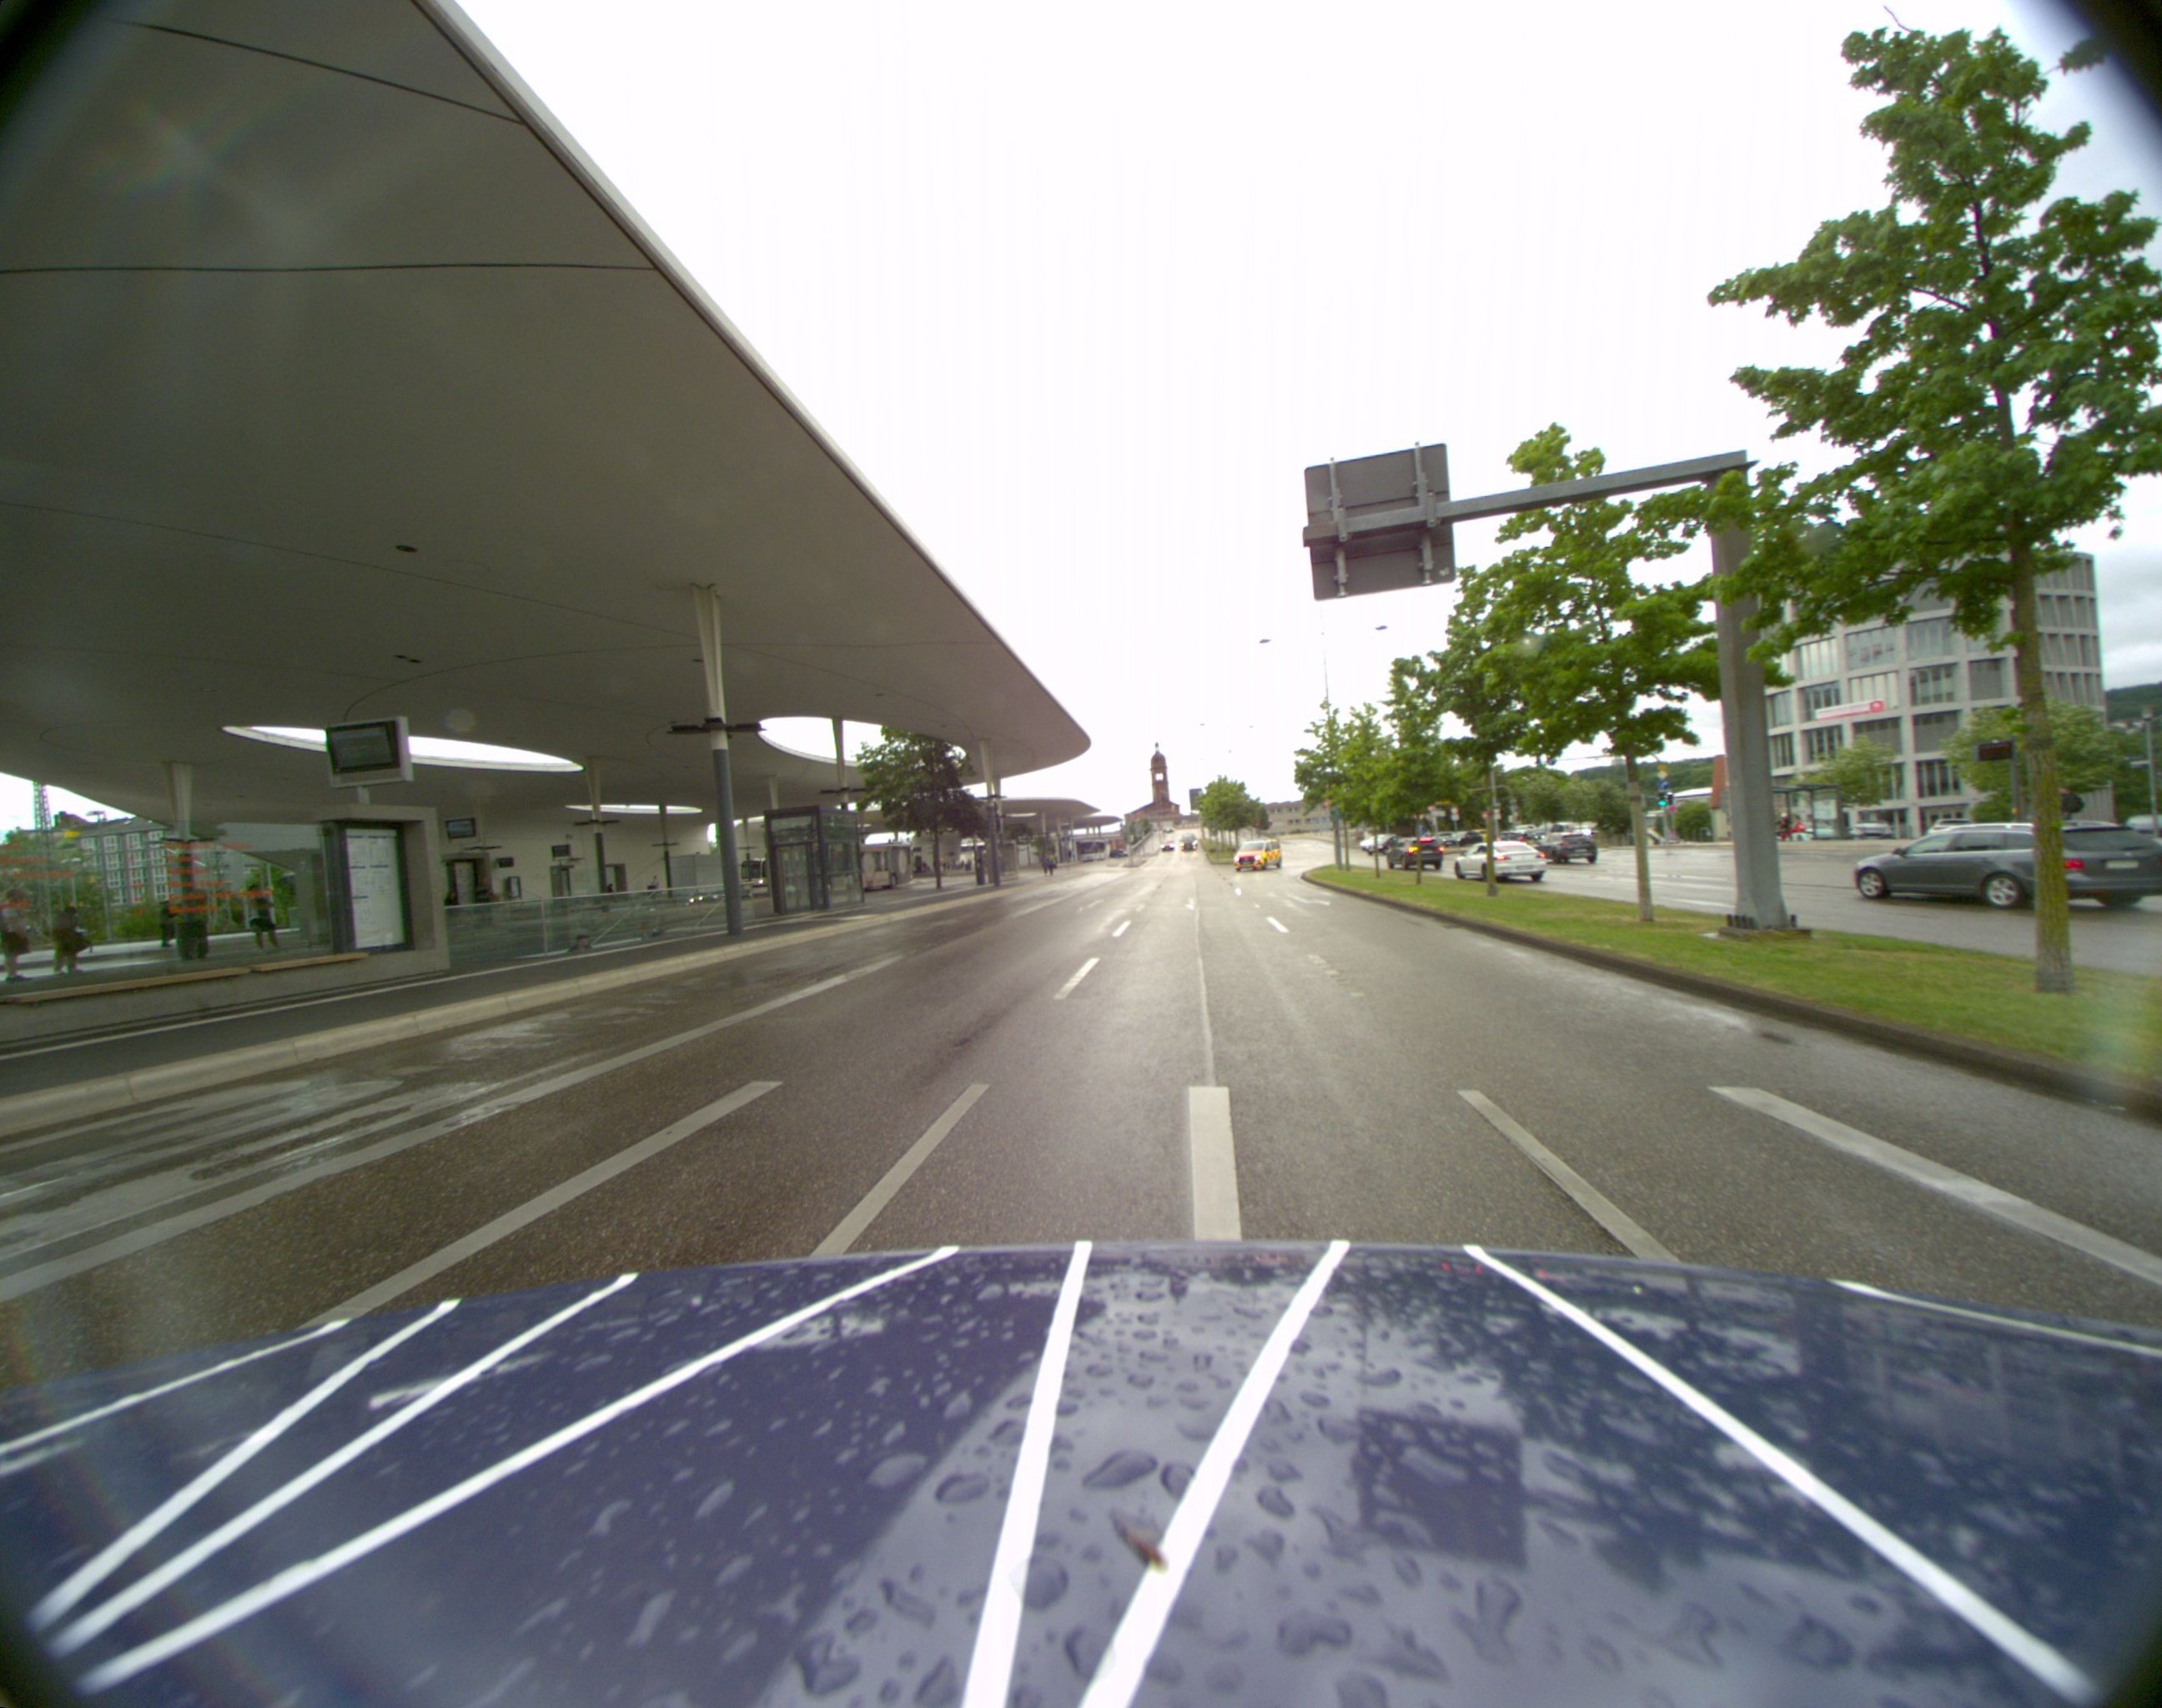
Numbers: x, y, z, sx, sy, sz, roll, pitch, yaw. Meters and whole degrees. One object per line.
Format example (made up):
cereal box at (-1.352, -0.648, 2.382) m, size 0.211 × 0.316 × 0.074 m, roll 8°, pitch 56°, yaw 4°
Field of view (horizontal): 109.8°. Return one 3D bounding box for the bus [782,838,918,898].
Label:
bus at (-13.466, 0.642, 46.007) m, size 2.874 × 3.064 × 11.927 m, roll -2°, pitch 1°, yaw 9°

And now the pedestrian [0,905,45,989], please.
pedestrian at (-20.222, 1.750, 14.367) m, size 0.478 × 1.505 × 0.535 m, roll -3°, pitch 1°, yaw 12°

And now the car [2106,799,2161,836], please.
car at (51.478, -1.800, 36.975) m, size 4.164 × 1.692 × 1.872 m, roll -3°, pitch 1°, yaw -36°

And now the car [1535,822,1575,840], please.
car at (47.371, -2.282, 75.919) m, size 4.164 × 1.625 × 1.872 m, roll -3°, pitch 1°, yaw -35°

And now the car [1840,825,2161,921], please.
car at (16.675, 0.255, 13.946) m, size 1.697 × 1.457 × 4.455 m, roll -2°, pitch 1°, yaw 11°

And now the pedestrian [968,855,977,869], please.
pedestrian at (-15.488, 1.117, 108.438) m, size 1.025 × 2.002 × 0.879 m, roll -2°, pitch 1°, yaw -11°

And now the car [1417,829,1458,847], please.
car at (36.157, -1.634, 77.055) m, size 4.164 × 1.692 × 1.872 m, roll -3°, pitch 1°, yaw -35°

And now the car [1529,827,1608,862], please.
car at (23.585, -0.493, 36.938) m, size 1.883 × 1.545 × 4.004 m, roll -2°, pitch 1°, yaw 11°

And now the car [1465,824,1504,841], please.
car at (43.153, -2.280, 81.212) m, size 4.308 × 1.625 × 1.872 m, roll -3°, pitch 1°, yaw -35°

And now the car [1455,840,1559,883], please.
car at (15.321, 0.227, 27.592) m, size 2.008 × 1.345 × 4.167 m, roll -2°, pitch 1°, yaw 10°

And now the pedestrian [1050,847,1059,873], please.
pedestrian at (-1.862, 0.425, 53.460) m, size 0.446 × 1.754 × 0.537 m, roll -3°, pitch 1°, yaw 2°

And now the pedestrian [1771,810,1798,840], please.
pedestrian at (35.342, -1.465, 38.196) m, size 0.732 × 1.481 × 0.735 m, roll -2°, pitch 1°, yaw 17°

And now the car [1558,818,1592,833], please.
car at (57.155, -3.277, 87.873) m, size 4.164 × 1.625 × 1.872 m, roll -3°, pitch 1°, yaw -35°

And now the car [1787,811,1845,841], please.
car at (44.759, -1.694, 46.262) m, size 4.164 × 1.692 × 1.872 m, roll -3°, pitch 1°, yaw -36°

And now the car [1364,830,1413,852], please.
car at (25.679, -1.090, 63.404) m, size 4.164 × 1.692 × 1.872 m, roll -3°, pitch 1°, yaw -36°

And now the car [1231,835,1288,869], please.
car at (11.627, -0.189, 49.296) m, size 1.995 × 2.002 × 5.070 m, roll -1°, pitch 1°, yaw 32°

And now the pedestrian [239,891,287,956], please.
pedestrian at (-19.667, 1.670, 18.273) m, size 0.478 × 1.505 × 0.535 m, roll -3°, pitch 1°, yaw 12°

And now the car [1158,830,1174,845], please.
car at (11.722, -2.267, 105.159) m, size 1.998 × 2.002 × 4.001 m, roll -2°, pitch 1°, yaw 6°

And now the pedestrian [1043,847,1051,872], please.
pedestrian at (-2.375, 0.388, 53.468) m, size 0.445 × 1.754 × 0.537 m, roll -3°, pitch 1°, yaw 2°

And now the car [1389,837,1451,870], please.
car at (17.417, -0.086, 39.270) m, size 2.008 × 1.545 × 4.167 m, roll -2°, pitch 1°, yaw 11°

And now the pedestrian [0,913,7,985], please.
pedestrian at (-22.898, 2.004, 15.728) m, size 0.478 × 1.505 × 0.567 m, roll -3°, pitch 1°, yaw 12°

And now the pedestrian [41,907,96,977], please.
pedestrian at (-22.948, 1.987, 17.221) m, size 0.478 × 1.505 × 0.526 m, roll -3°, pitch 1°, yaw 12°

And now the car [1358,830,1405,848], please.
car at (29.844, -1.479, 75.507) m, size 4.051 × 1.550 × 1.810 m, roll -2°, pitch 1°, yaw -14°

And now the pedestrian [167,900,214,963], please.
pedestrian at (-22.087, 1.918, 18.860) m, size 0.478 × 1.505 × 0.526 m, roll -3°, pitch 1°, yaw 12°

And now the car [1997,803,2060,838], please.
car at (49.904, -1.788, 40.001) m, size 4.164 × 1.692 × 1.872 m, roll -3°, pitch 1°, yaw -36°

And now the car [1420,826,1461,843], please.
car at (38.596, -2.082, 81.553) m, size 4.162 × 1.624 × 1.873 m, roll -3°, pitch 1°, yaw -28°

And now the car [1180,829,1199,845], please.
car at (14.377, -2.186, 100.890) m, size 1.998 × 2.002 × 4.000 m, roll -2°, pitch 1°, yaw 3°

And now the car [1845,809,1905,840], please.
car at (46.170, -1.714, 44.187) m, size 4.164 × 1.692 × 1.872 m, roll -3°, pitch 1°, yaw -36°

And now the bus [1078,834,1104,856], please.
bus at (1.507, -1.323, 115.557) m, size 3.582 × 3.080 × 10.753 m, roll -3°, pitch 0°, yaw 0°

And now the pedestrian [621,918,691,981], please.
pedestrian at (-9.455, 2.116, 16.935) m, size 0.881 × 1.268 × 0.959 m, roll -2°, pitch 1°, yaw 12°

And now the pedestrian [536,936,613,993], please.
pedestrian at (-10.665, 2.321, 16.018) m, size 0.881 × 1.048 × 0.959 m, roll -2°, pitch 1°, yaw 12°

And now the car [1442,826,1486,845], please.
car at (35.753, -1.739, 70.871) m, size 4.164 × 1.692 × 1.872 m, roll -3°, pitch 1°, yaw -35°

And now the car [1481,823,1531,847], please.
car at (29.207, -1.309, 52.341) m, size 1.883 × 1.545 × 4.004 m, roll -2°, pitch 1°, yaw 11°

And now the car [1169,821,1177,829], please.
car at (21.599, -6.766, 177.615) m, size 1.548 × 1.552 × 3.650 m, roll -2°, pitch 1°, yaw 3°

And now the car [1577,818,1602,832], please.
car at (63.704, -3.677, 95.176) m, size 1.872 × 1.625 × 4.165 m, roll -1°, pitch 1°, yaw 43°

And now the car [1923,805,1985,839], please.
car at (47.994, -1.758, 41.740) m, size 4.164 × 1.692 × 1.872 m, roll -3°, pitch 1°, yaw -36°

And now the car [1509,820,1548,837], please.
car at (47.143, -2.737, 79.980) m, size 4.308 × 1.625 × 1.872 m, roll -3°, pitch 1°, yaw -35°

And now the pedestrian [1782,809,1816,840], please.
pedestrian at (35.112, -1.441, 37.190) m, size 0.982 × 1.481 × 0.735 m, roll -2°, pitch 1°, yaw 19°
